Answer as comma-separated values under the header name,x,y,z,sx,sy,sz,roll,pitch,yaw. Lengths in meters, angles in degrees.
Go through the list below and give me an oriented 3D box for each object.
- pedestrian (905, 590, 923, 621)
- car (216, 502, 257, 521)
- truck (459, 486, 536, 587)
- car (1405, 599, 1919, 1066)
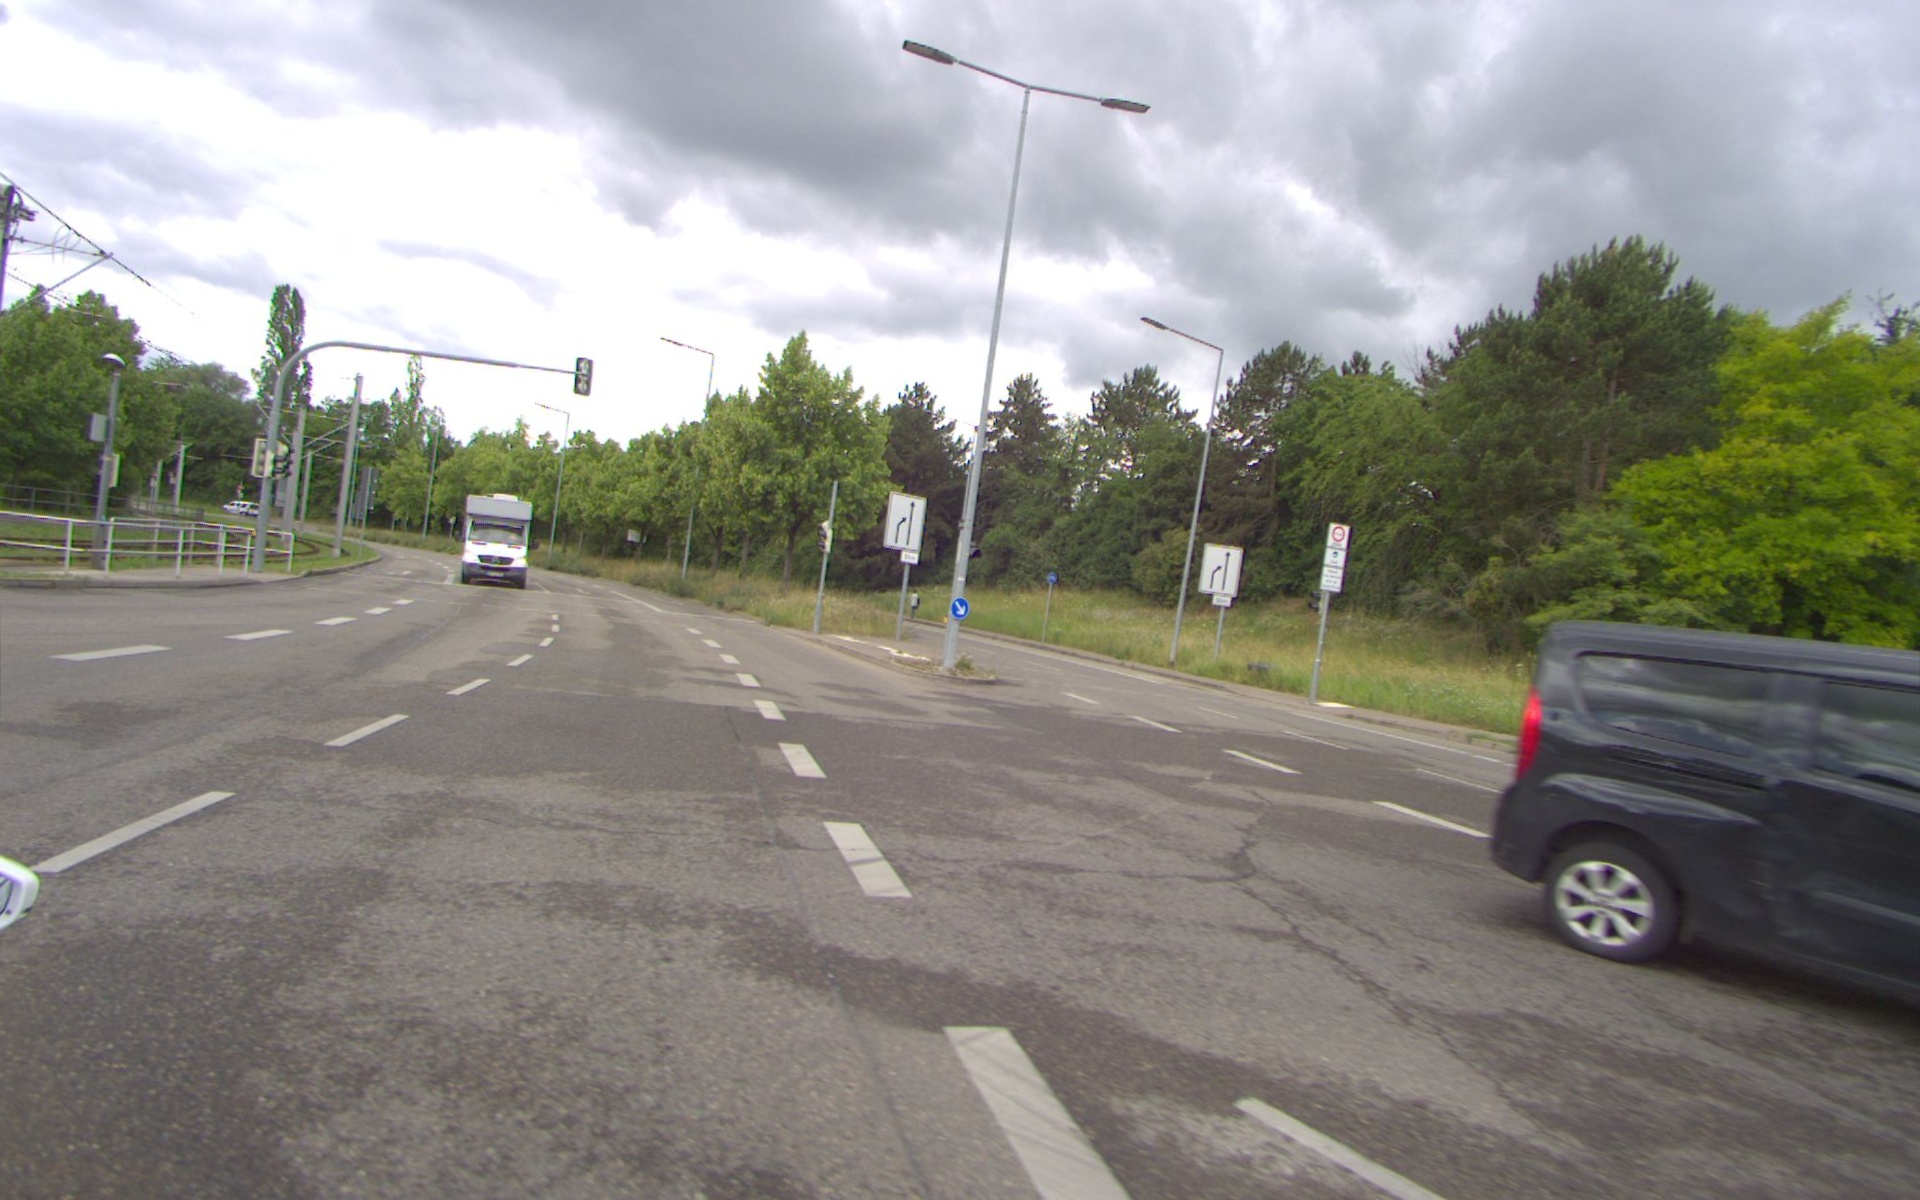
name,x,y,z,sx,sy,sz,roll,pitch,yaw
pedestrian,-2.642,0.315,58.296,0.730,1.739,0.623,7,1,-16
car,-90.149,-11.014,125.308,3.656,1.749,2.000,7,1,8
truck,-16.134,-2.156,34.895,2.084,3.051,6.231,3,2,-27
car,5.165,1.225,5.034,1.986,1.900,4.832,6,0,-42
